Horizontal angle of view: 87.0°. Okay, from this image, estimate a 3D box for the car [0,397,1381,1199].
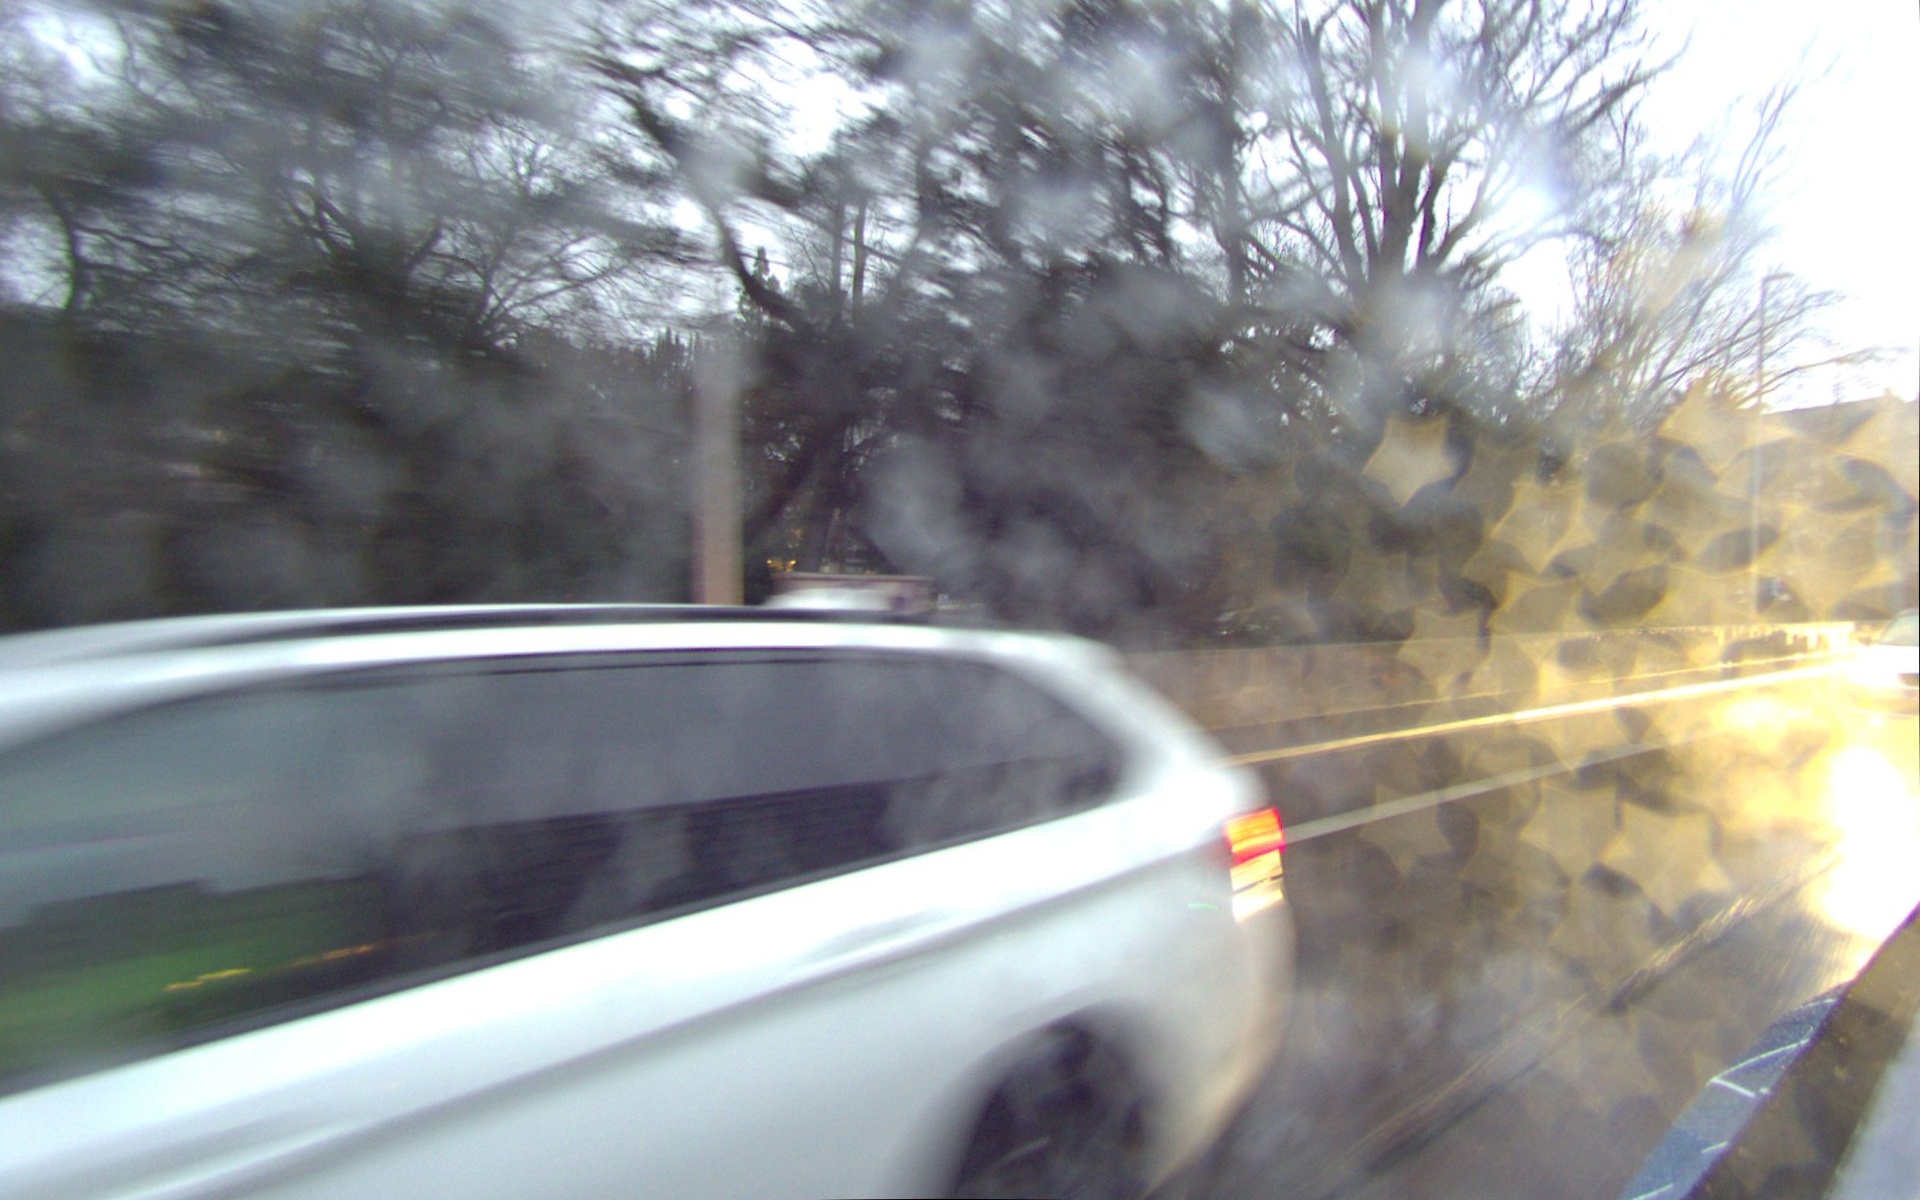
[{"bbox_3d":[-1.428,0.567,1.762,4.848,1.575,1.867,0,2,-38],"label":"car"}]

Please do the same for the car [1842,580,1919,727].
[{"bbox_3d":[12.214,0.593,11.986,4.094,1.580,1.887,0,2,-38],"label":"car"}]
